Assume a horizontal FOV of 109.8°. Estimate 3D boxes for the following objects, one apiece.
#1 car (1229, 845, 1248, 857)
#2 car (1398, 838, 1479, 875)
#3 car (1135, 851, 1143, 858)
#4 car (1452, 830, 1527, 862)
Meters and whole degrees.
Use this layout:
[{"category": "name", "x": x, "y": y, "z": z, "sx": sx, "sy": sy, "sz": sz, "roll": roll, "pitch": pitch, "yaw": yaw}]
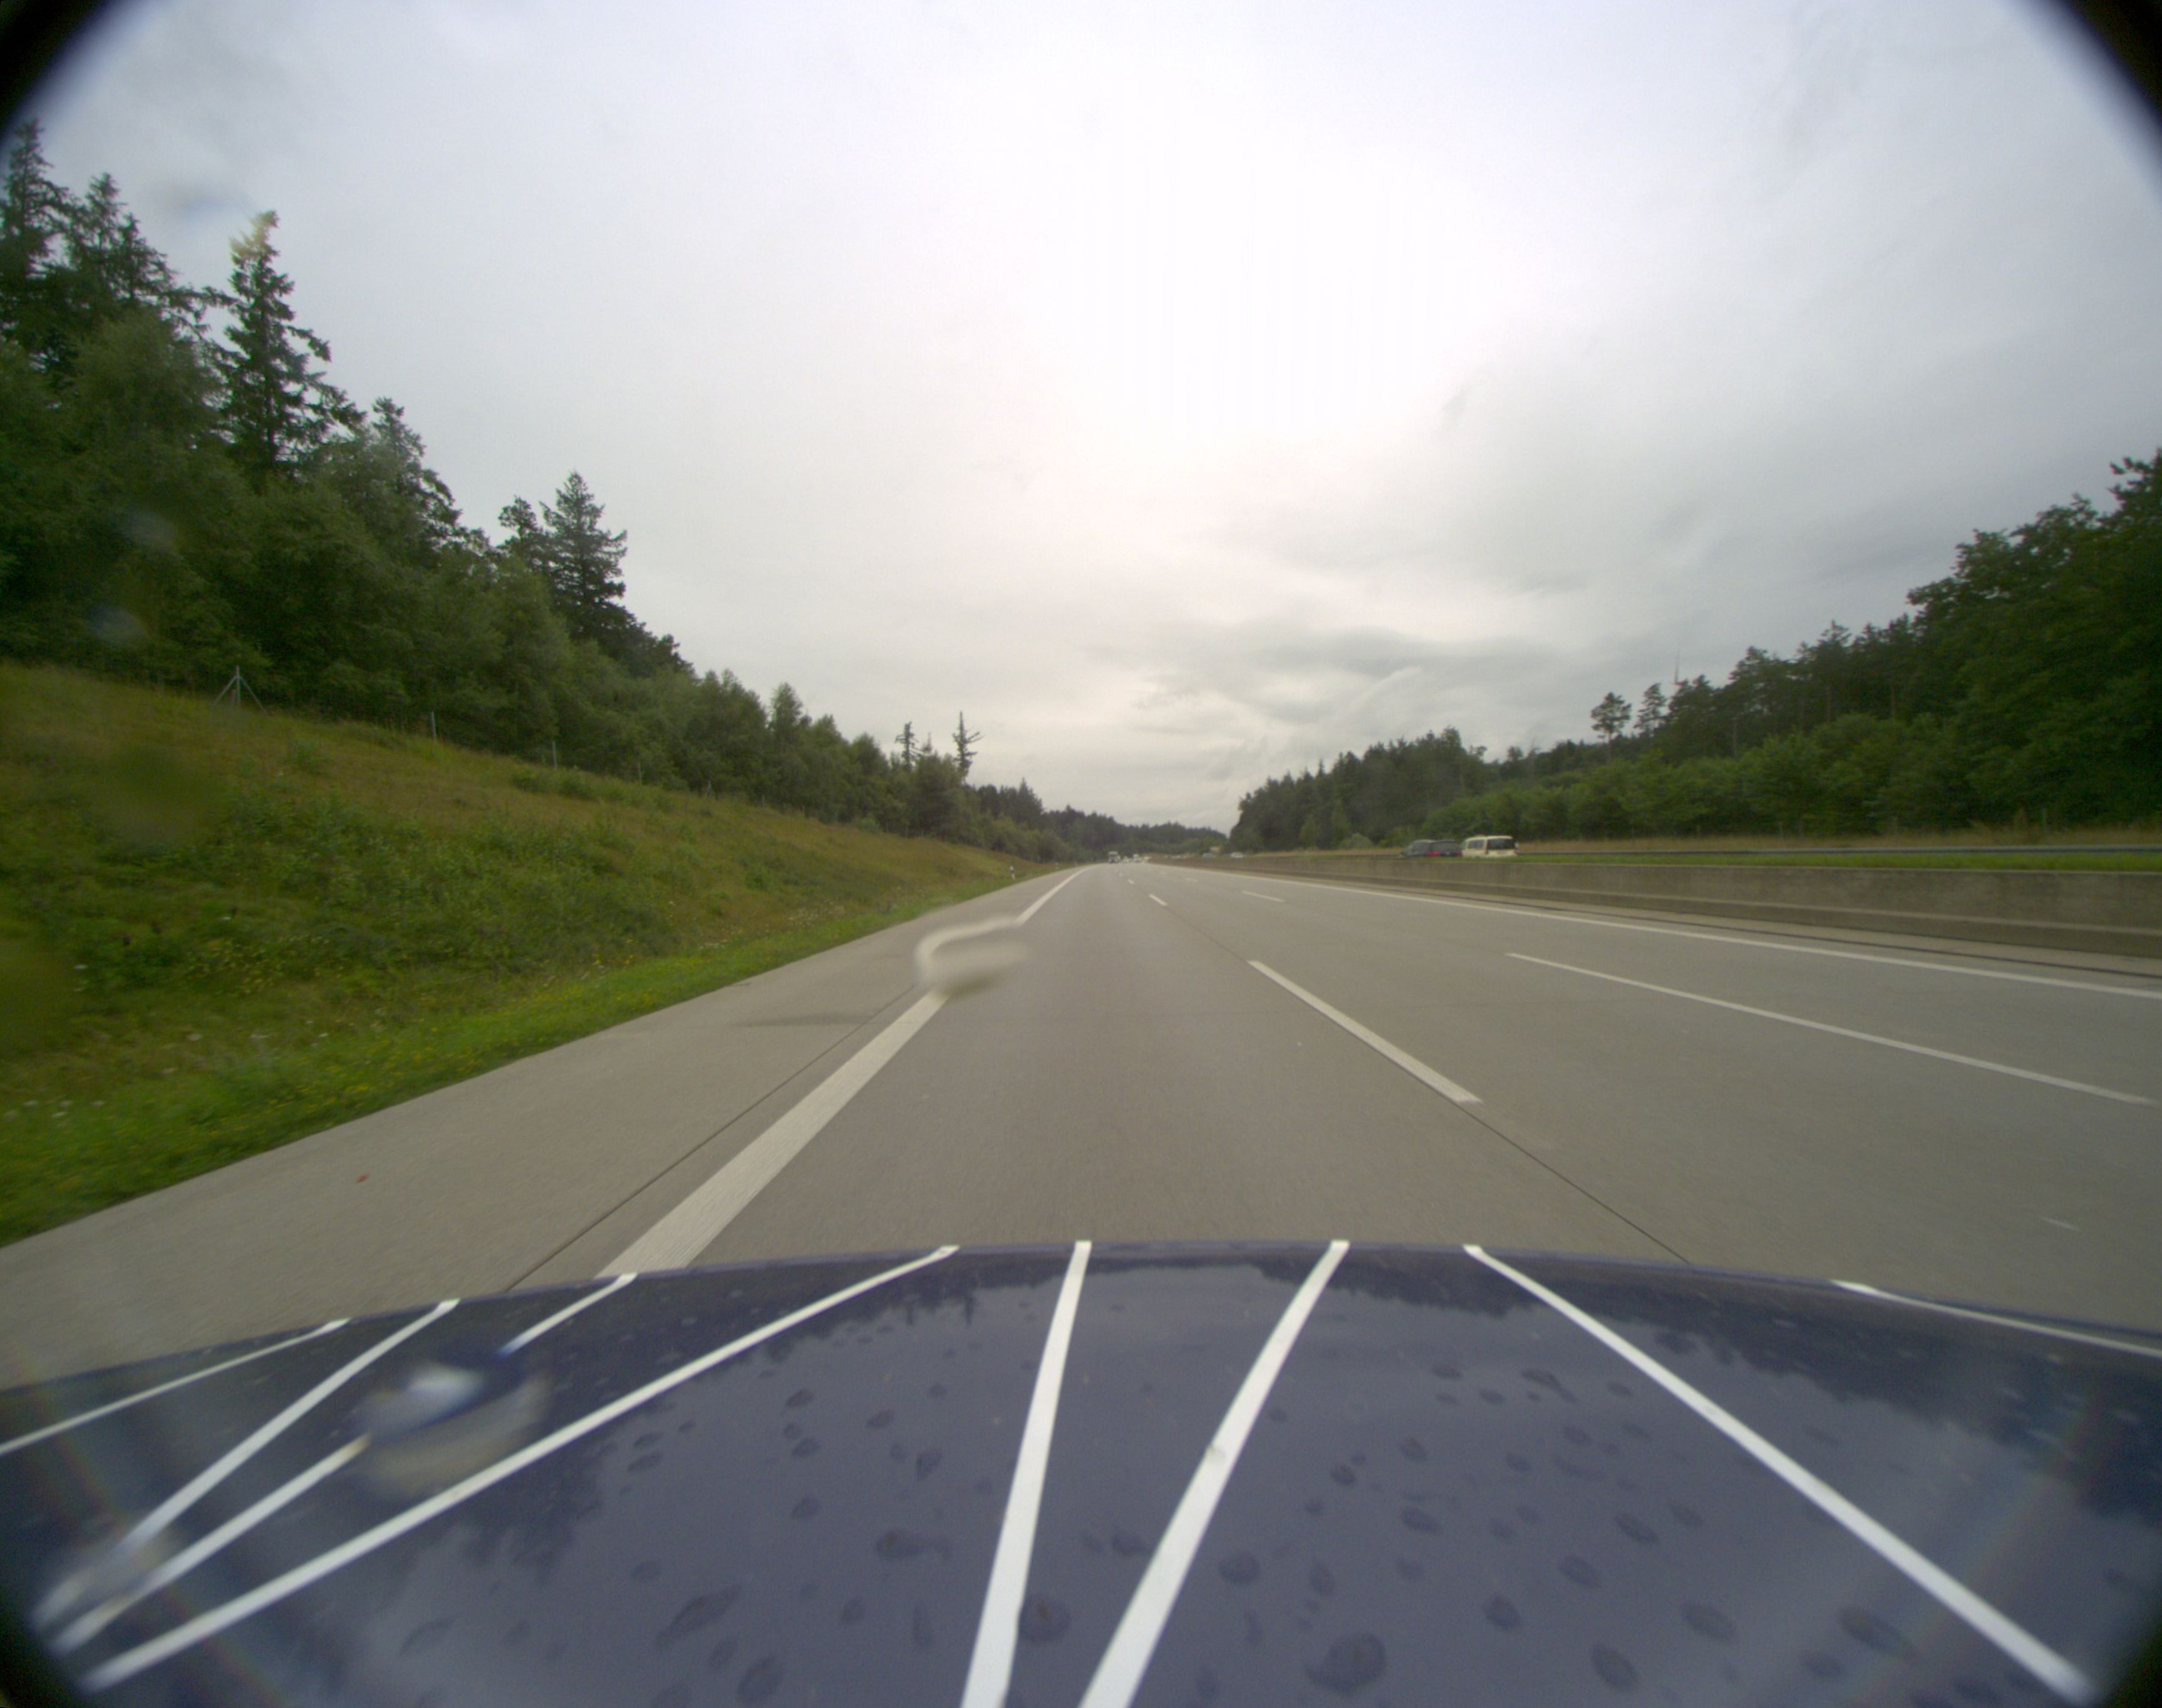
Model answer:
[{"category": "car", "x": 22.399, "y": -0.371, "z": 108.277, "sx": 1.856, "sy": 1.620, "sz": 3.933, "roll": -2, "pitch": 0, "yaw": 1}, {"category": "car", "x": 17.020, "y": 0.126, "z": 36.375, "sx": 1.998, "sy": 1.620, "sz": 4.000, "roll": -2, "pitch": 0, "yaw": 1}, {"category": "car", "x": 18.658, "y": 0.130, "z": 245.792, "sx": 2.213, "sy": 2.001, "sz": 4.835, "roll": -3, "pitch": -1, "yaw": 1}, {"category": "car", "x": 22.998, "y": -0.420, "z": 42.946, "sx": 1.998, "sy": 1.620, "sz": 4.152, "roll": -2, "pitch": 0, "yaw": 1}]
